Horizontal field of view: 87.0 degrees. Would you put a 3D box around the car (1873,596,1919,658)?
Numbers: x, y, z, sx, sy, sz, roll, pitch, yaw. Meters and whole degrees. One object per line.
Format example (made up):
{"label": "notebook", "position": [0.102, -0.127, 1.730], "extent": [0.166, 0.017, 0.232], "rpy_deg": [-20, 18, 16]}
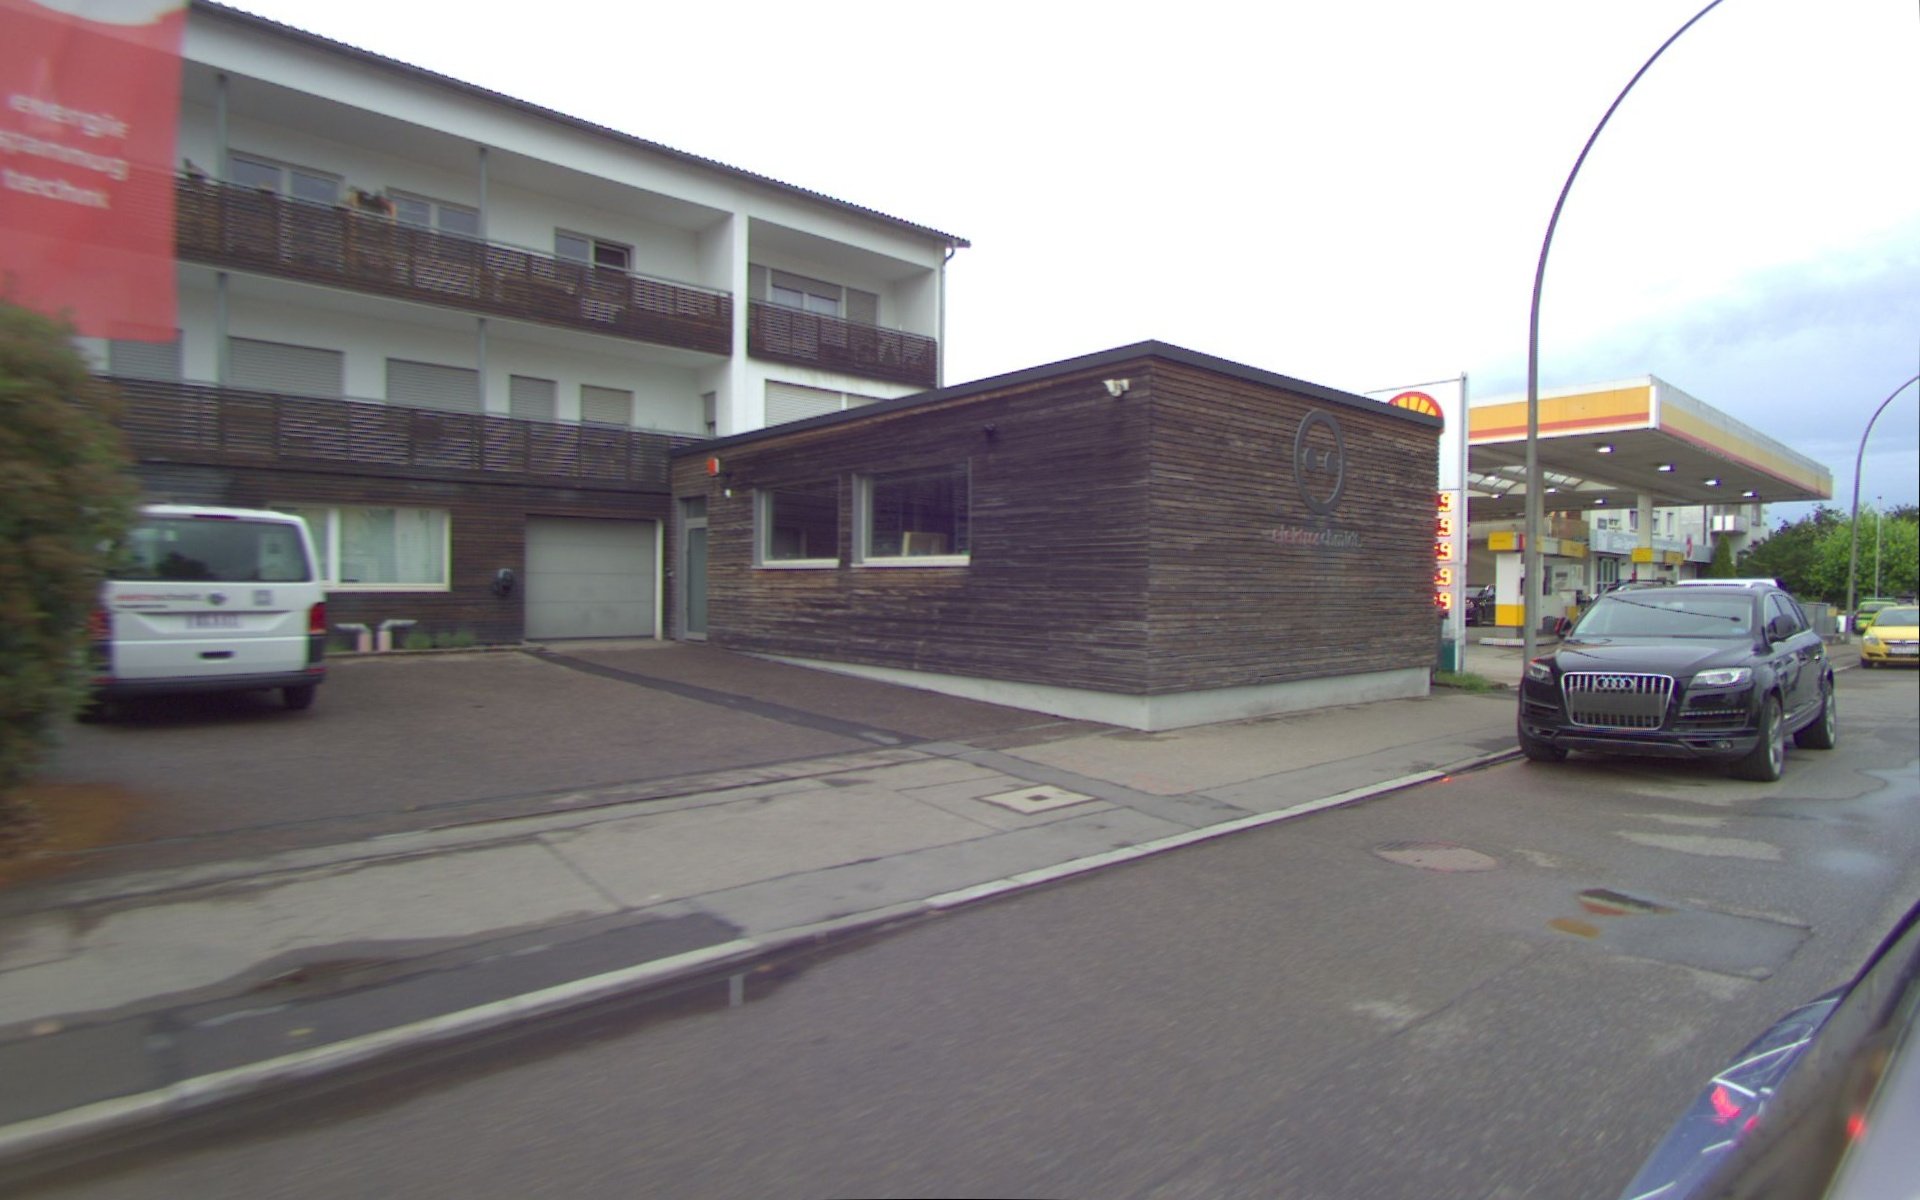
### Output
{"label": "car", "position": [23.334, 0.622, 24.328], "extent": [3.736, 1.419, 1.659], "rpy_deg": [0, 0, -42]}

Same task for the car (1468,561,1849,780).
{"label": "car", "position": [7.094, 0.589, 10.094], "extent": [4.479, 1.683, 2.094], "rpy_deg": [1, -2, -41]}

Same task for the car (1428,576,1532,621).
{"label": "car", "position": [18.400, -0.045, 35.749], "extent": [4.592, 1.484, 1.742], "rpy_deg": [1, 0, -42]}

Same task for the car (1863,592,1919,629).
{"label": "car", "position": [45.685, 0.498, 49.548], "extent": [1.994, 1.704, 3.936], "rpy_deg": [1, 0, 44]}

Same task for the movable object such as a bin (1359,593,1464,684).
{"label": "movable object such as a bin", "position": [7.251, 0.584, 16.244], "extent": [1.361, 1.356, 1.103], "rpy_deg": [0, 0, -43]}

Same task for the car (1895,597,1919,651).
{"label": "car", "position": [26.748, 0.630, 27.472], "extent": [3.955, 1.394, 1.659], "rpy_deg": [0, 0, -42]}

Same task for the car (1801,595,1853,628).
{"label": "car", "position": [45.298, 0.604, 52.838], "extent": [1.748, 1.538, 3.671], "rpy_deg": [5, 3, 45]}

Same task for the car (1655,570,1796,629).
{"label": "car", "position": [34.895, -0.044, 46.327], "extent": [4.759, 2.552, 2.226], "rpy_deg": [1, 0, 28]}

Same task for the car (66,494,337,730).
{"label": "car", "position": [-8.013, -0.035, 10.505], "extent": [1.829, 1.922, 4.468], "rpy_deg": [0, 3, -42]}

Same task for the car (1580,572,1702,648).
{"label": "car", "position": [17.936, 0.227, 26.597], "extent": [3.933, 1.781, 1.822], "rpy_deg": [0, 3, -44]}
